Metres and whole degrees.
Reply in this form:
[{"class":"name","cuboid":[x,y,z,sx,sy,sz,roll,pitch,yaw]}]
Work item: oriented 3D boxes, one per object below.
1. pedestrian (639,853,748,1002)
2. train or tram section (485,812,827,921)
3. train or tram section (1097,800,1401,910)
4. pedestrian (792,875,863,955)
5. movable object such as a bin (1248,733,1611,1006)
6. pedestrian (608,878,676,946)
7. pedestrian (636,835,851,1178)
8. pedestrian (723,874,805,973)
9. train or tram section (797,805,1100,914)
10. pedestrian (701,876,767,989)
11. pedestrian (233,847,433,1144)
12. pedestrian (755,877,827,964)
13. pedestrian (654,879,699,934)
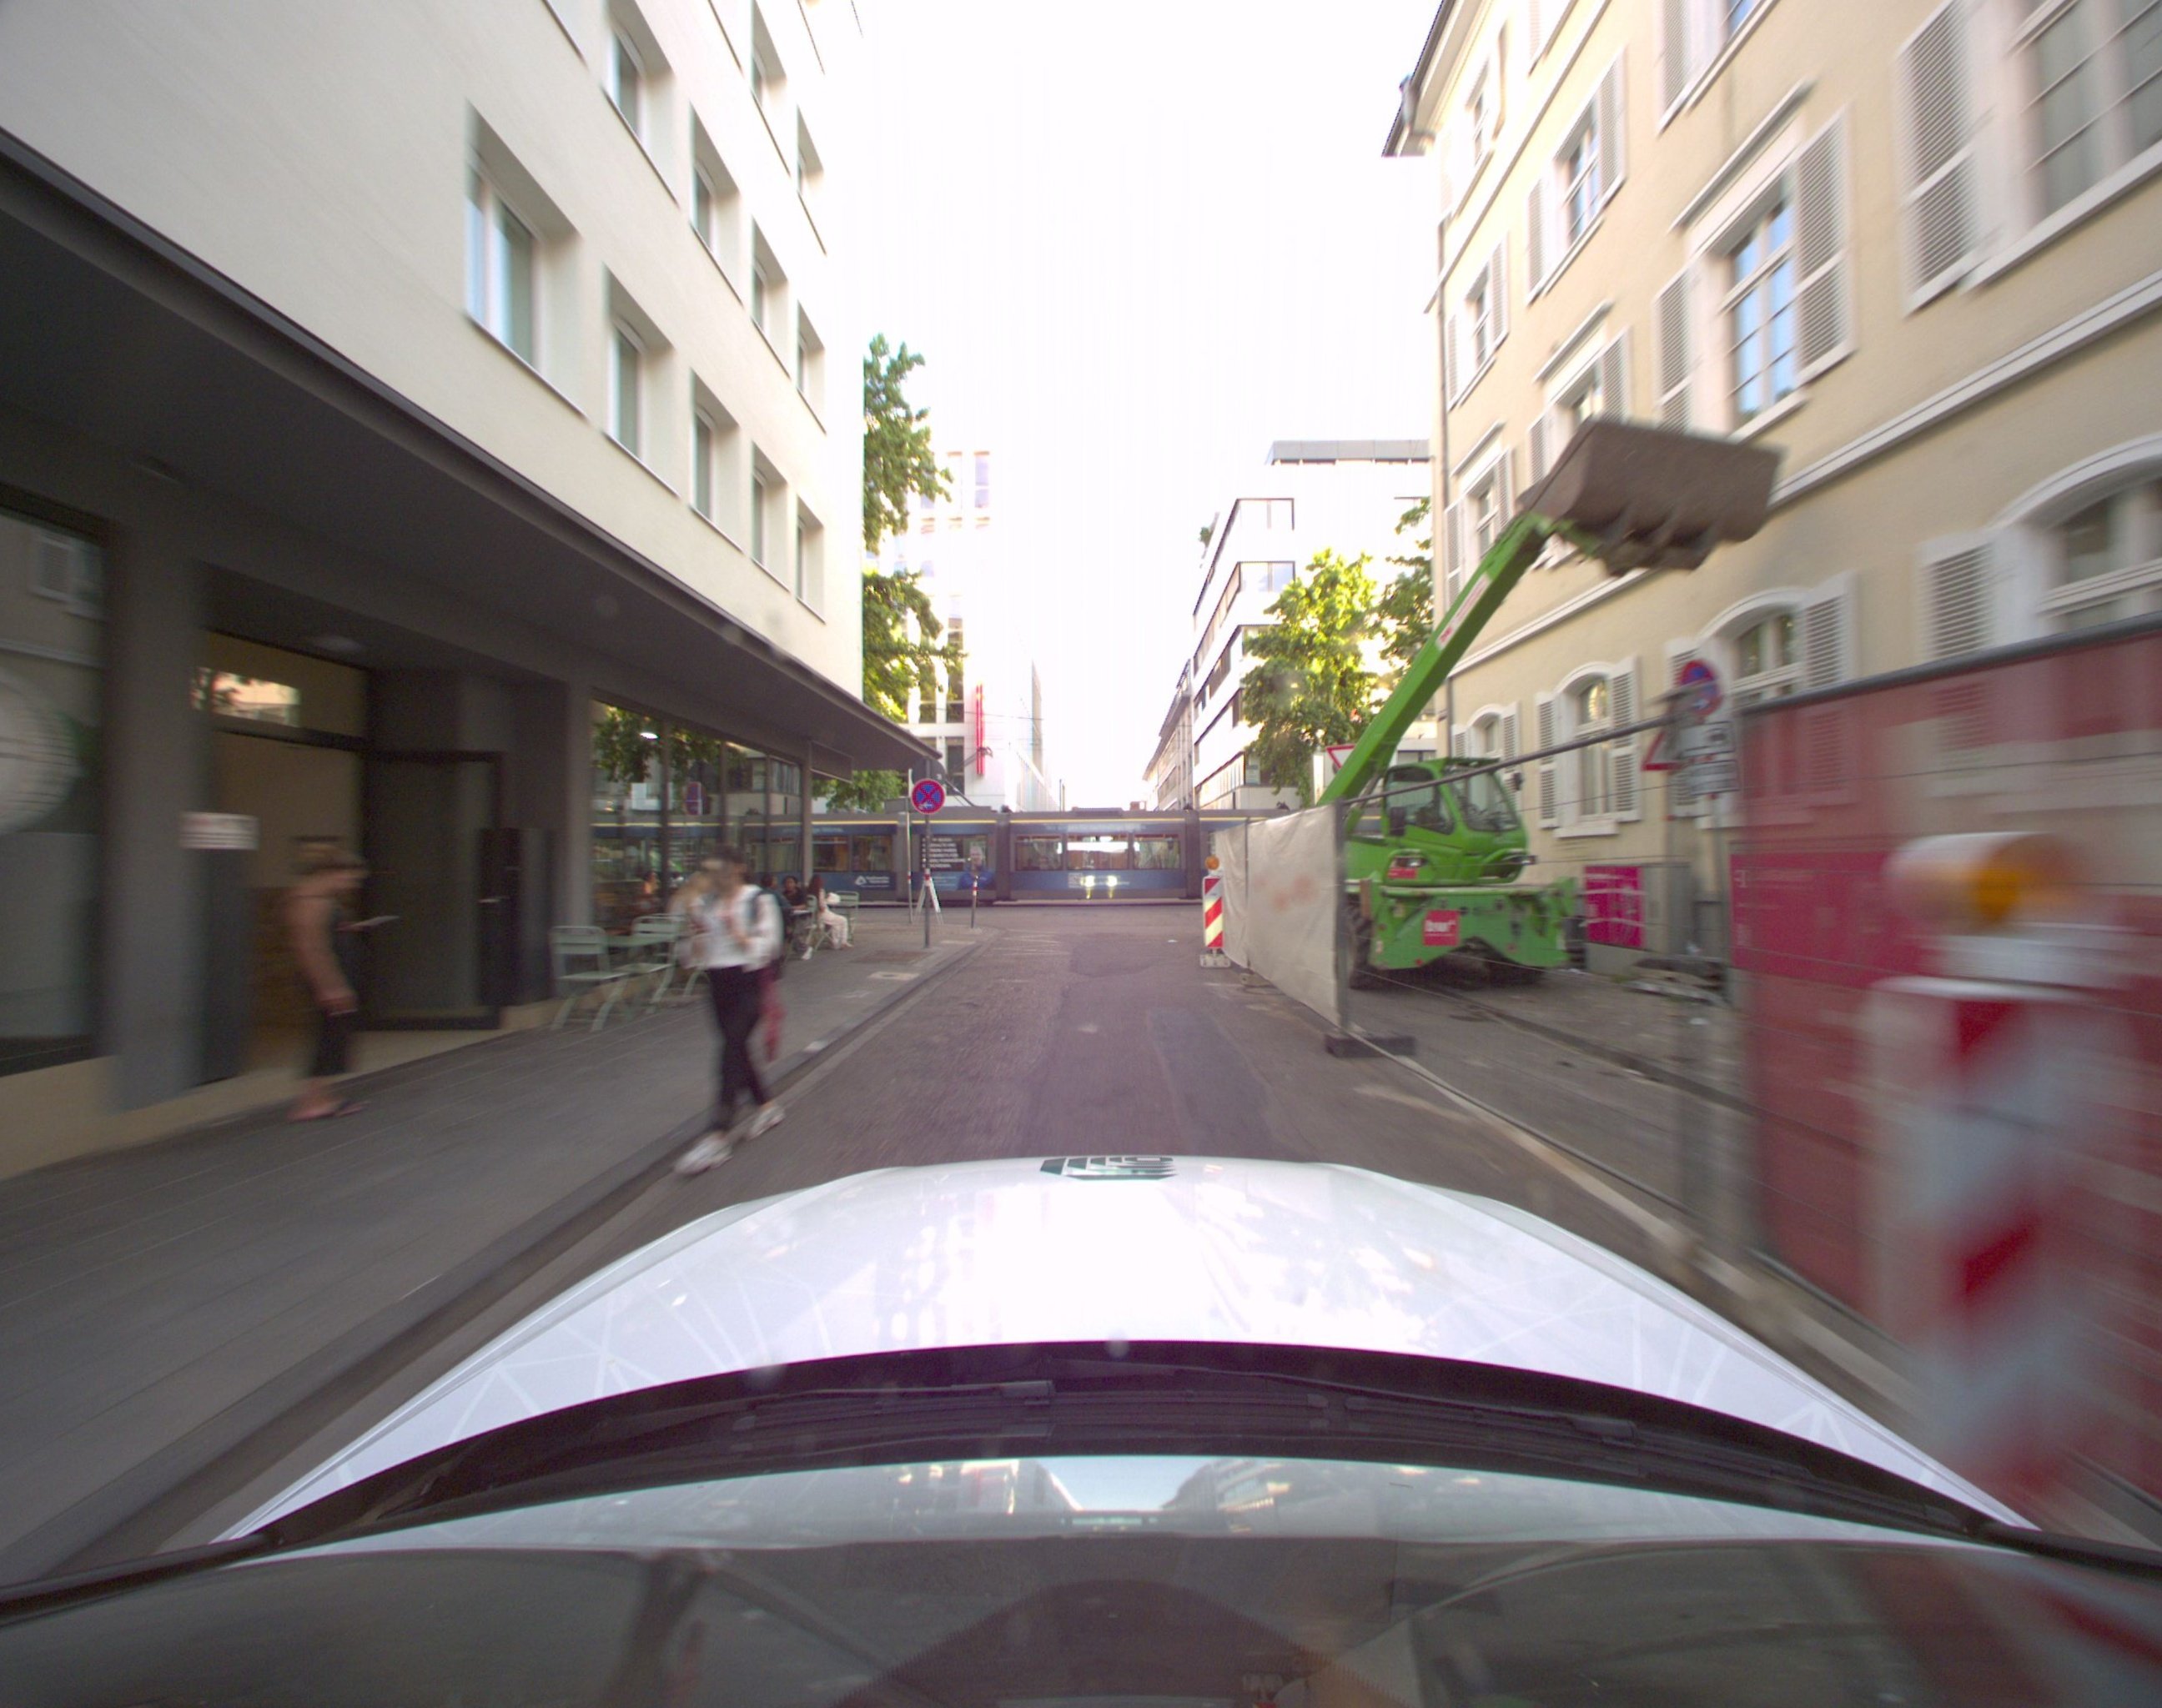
[{"class":"pedestrian","cuboid":[-4.227,0.775,8.948,0.700,1.548,0.863,0,-1,9]},{"class":"train or tram section","cuboid":[-15.080,0.460,29.492,10.771,3.524,3.013,-1,-2,0]},{"class":"train or tram section","cuboid":[5.780,0.054,29.369,10.301,3.524,3.026,-1,-2,0]},{"class":"pedestrian","cuboid":[-4.098,0.958,13.194,0.697,1.219,0.847,-1,-1,38]},{"class":"movable object such as a bin","cuboid":[4.334,0.191,11.561,2.627,2.873,5.562,-2,-1,-1]},{"class":"pedestrian","cuboid":[-8.928,1.163,16.603,0.874,1.320,0.851,-2,-2,5]},{"class":"pedestrian","cuboid":[-1.858,0.795,4.590,0.752,1.739,0.786,-3,-1,7]},{"class":"pedestrian","cuboid":[-4.275,0.915,11.034,0.701,1.240,0.779,3,-1,4]},{"class":"train or tram section","cuboid":[-4.526,0.225,29.423,10.331,3.524,3.017,-1,-2,0]},{"class":"pedestrian","cuboid":[-4.220,0.917,9.929,0.707,1.286,0.854,0,-1,-23]},{"class":"pedestrian","cuboid":[-4.308,0.756,4.750,0.659,1.570,0.633,1,-1,-25]},{"class":"pedestrian","cuboid":[-4.222,0.952,11.898,0.701,1.195,0.692,2,-1,4]},{"class":"pedestrian","cuboid":[-10.344,1.329,20.839,0.787,1.377,0.696,-1,-2,3]}]
